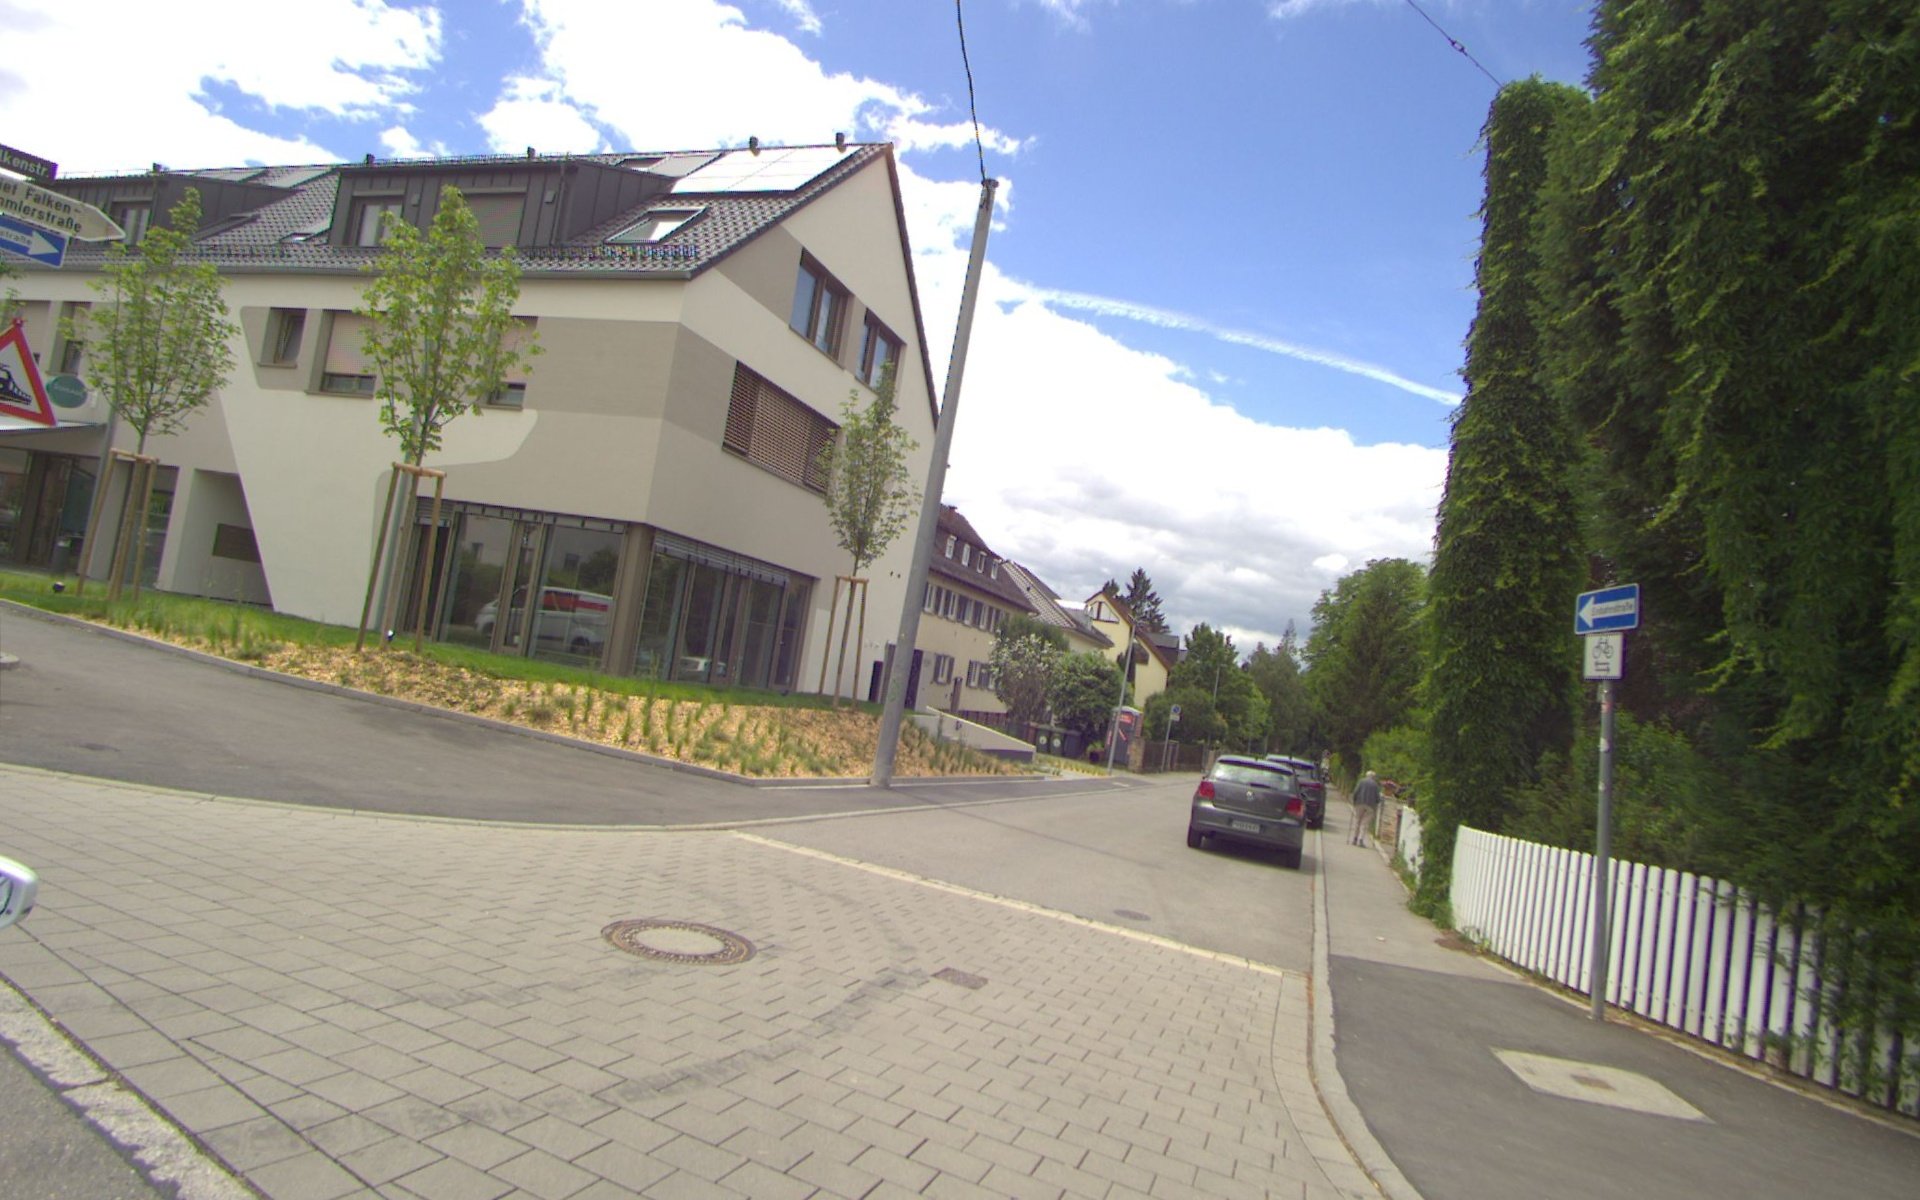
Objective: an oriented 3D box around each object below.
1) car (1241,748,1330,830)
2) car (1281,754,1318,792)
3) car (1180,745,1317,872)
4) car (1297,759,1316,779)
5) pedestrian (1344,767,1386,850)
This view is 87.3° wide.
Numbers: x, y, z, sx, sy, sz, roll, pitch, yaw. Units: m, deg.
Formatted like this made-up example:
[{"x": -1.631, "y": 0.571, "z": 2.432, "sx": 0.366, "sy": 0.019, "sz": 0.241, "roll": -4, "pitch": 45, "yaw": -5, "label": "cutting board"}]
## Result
[{"x": 8.469, "y": 4.877, "z": 26.249, "sx": 1.852, "sy": 1.622, "sz": 4.359, "roll": 8, "pitch": -6, "yaw": 19, "label": "car"}, {"x": 18.625, "y": 9.475, "z": 55.286, "sx": 1.631, "sy": 1.724, "sz": 3.470, "roll": 8, "pitch": -6, "yaw": 19, "label": "car"}, {"x": 4.586, "y": 3.190, "z": 15.849, "sx": 1.682, "sy": 1.471, "sz": 3.545, "roll": 8, "pitch": -6, "yaw": 19, "label": "car"}, {"x": 32.121, "y": 15.650, "z": 93.267, "sx": 1.368, "sy": 1.649, "sz": 3.005, "roll": 8, "pitch": -6, "yaw": 19, "label": "car"}, {"x": 8.364, "y": 4.295, "z": 20.760, "sx": 0.567, "sy": 1.562, "sz": 0.545, "roll": 6, "pitch": -6, "yaw": 31, "label": "pedestrian"}]
